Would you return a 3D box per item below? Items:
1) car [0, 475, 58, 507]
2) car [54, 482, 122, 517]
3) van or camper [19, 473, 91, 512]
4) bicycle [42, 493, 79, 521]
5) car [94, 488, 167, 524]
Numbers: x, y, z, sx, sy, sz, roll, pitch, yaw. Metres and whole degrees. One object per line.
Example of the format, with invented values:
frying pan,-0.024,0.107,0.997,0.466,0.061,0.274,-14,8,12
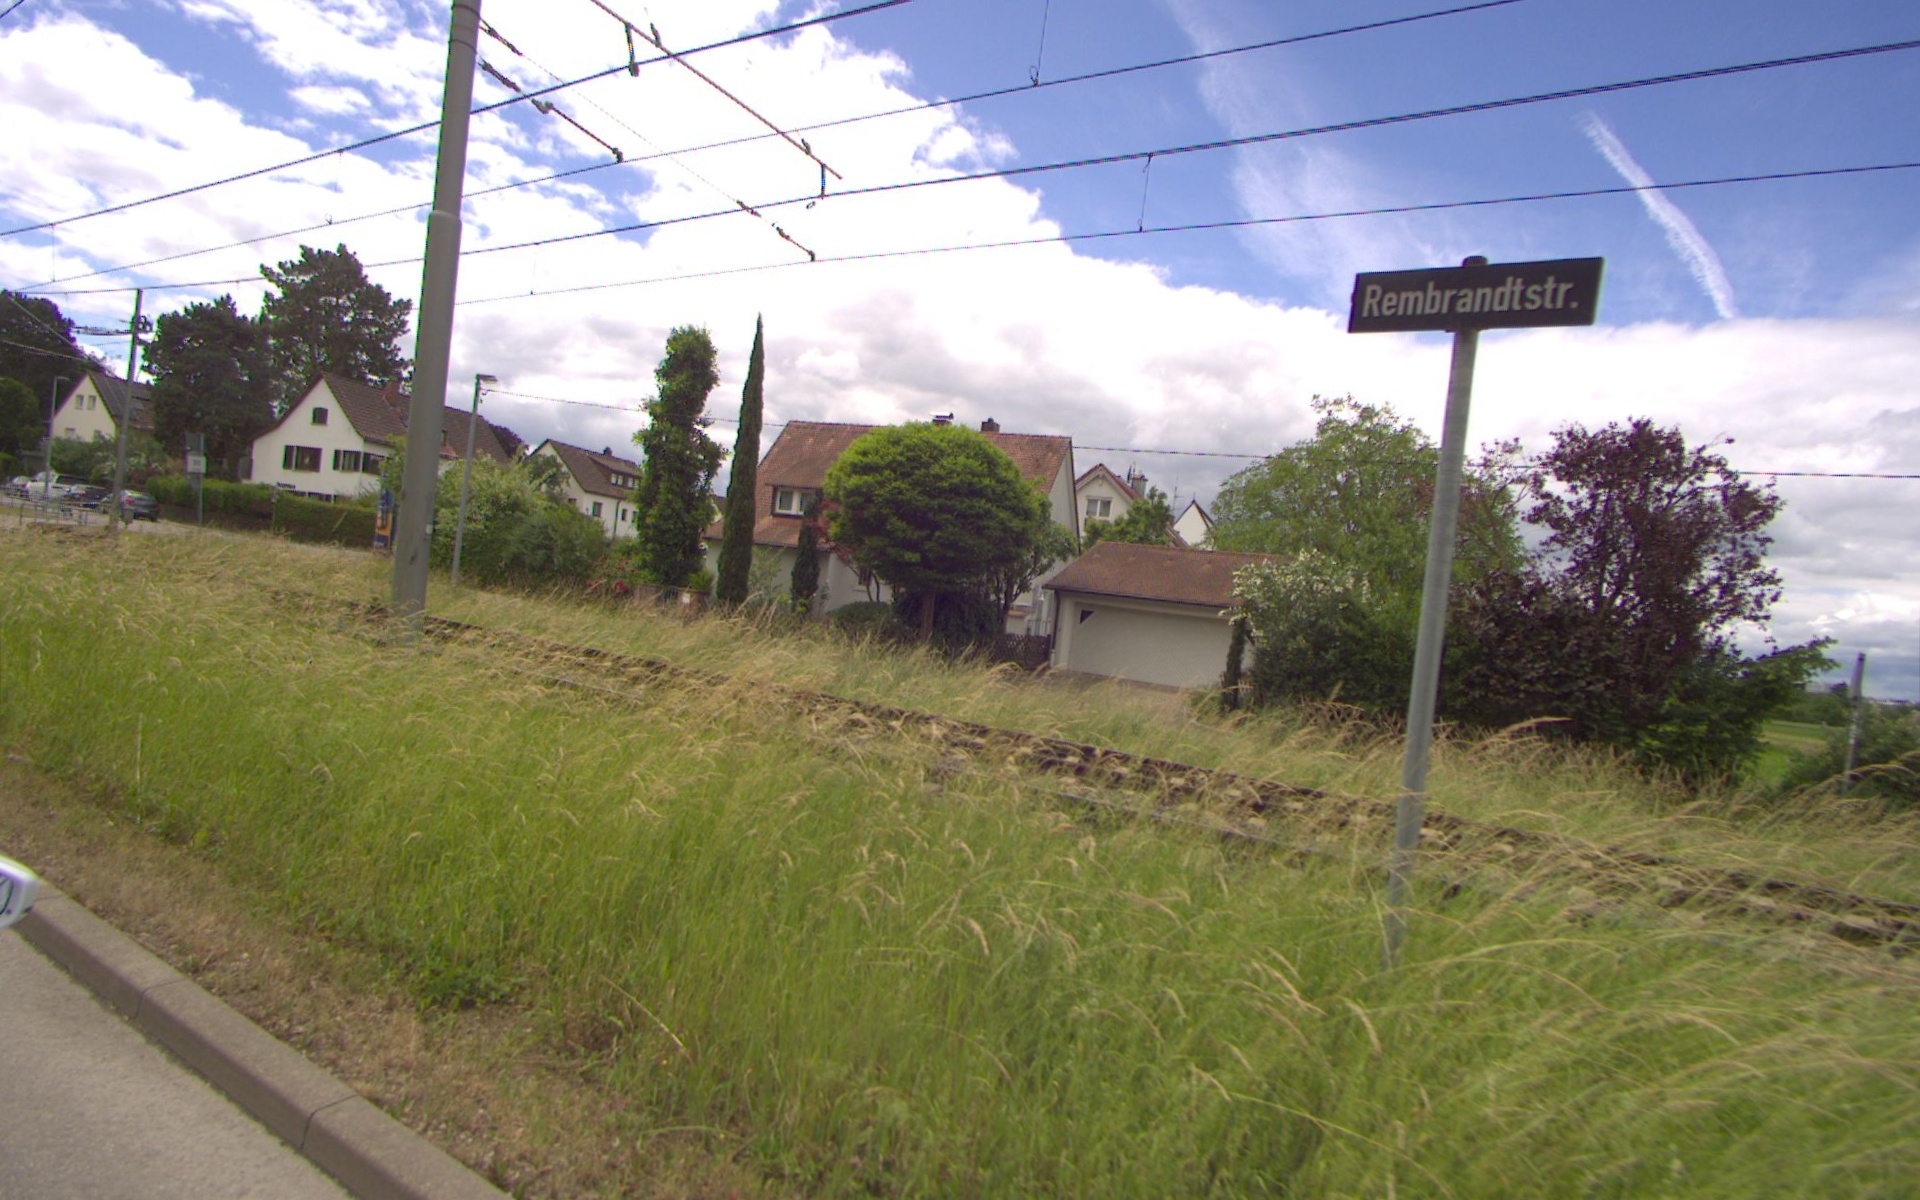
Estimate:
car,-59.263,-6.921,63.871,3.935,1.541,1.885,7,0,33
car,-50.553,-5.831,58.285,3.935,1.541,1.885,7,0,33
van or camper,-54.782,-6.509,60.878,4.965,1.848,1.907,7,0,33
bicycle,-40.661,-4.210,45.474,2.498,1.058,0.538,7,1,33
car,-45.459,-5.159,55.112,3.935,1.541,1.885,7,0,33
